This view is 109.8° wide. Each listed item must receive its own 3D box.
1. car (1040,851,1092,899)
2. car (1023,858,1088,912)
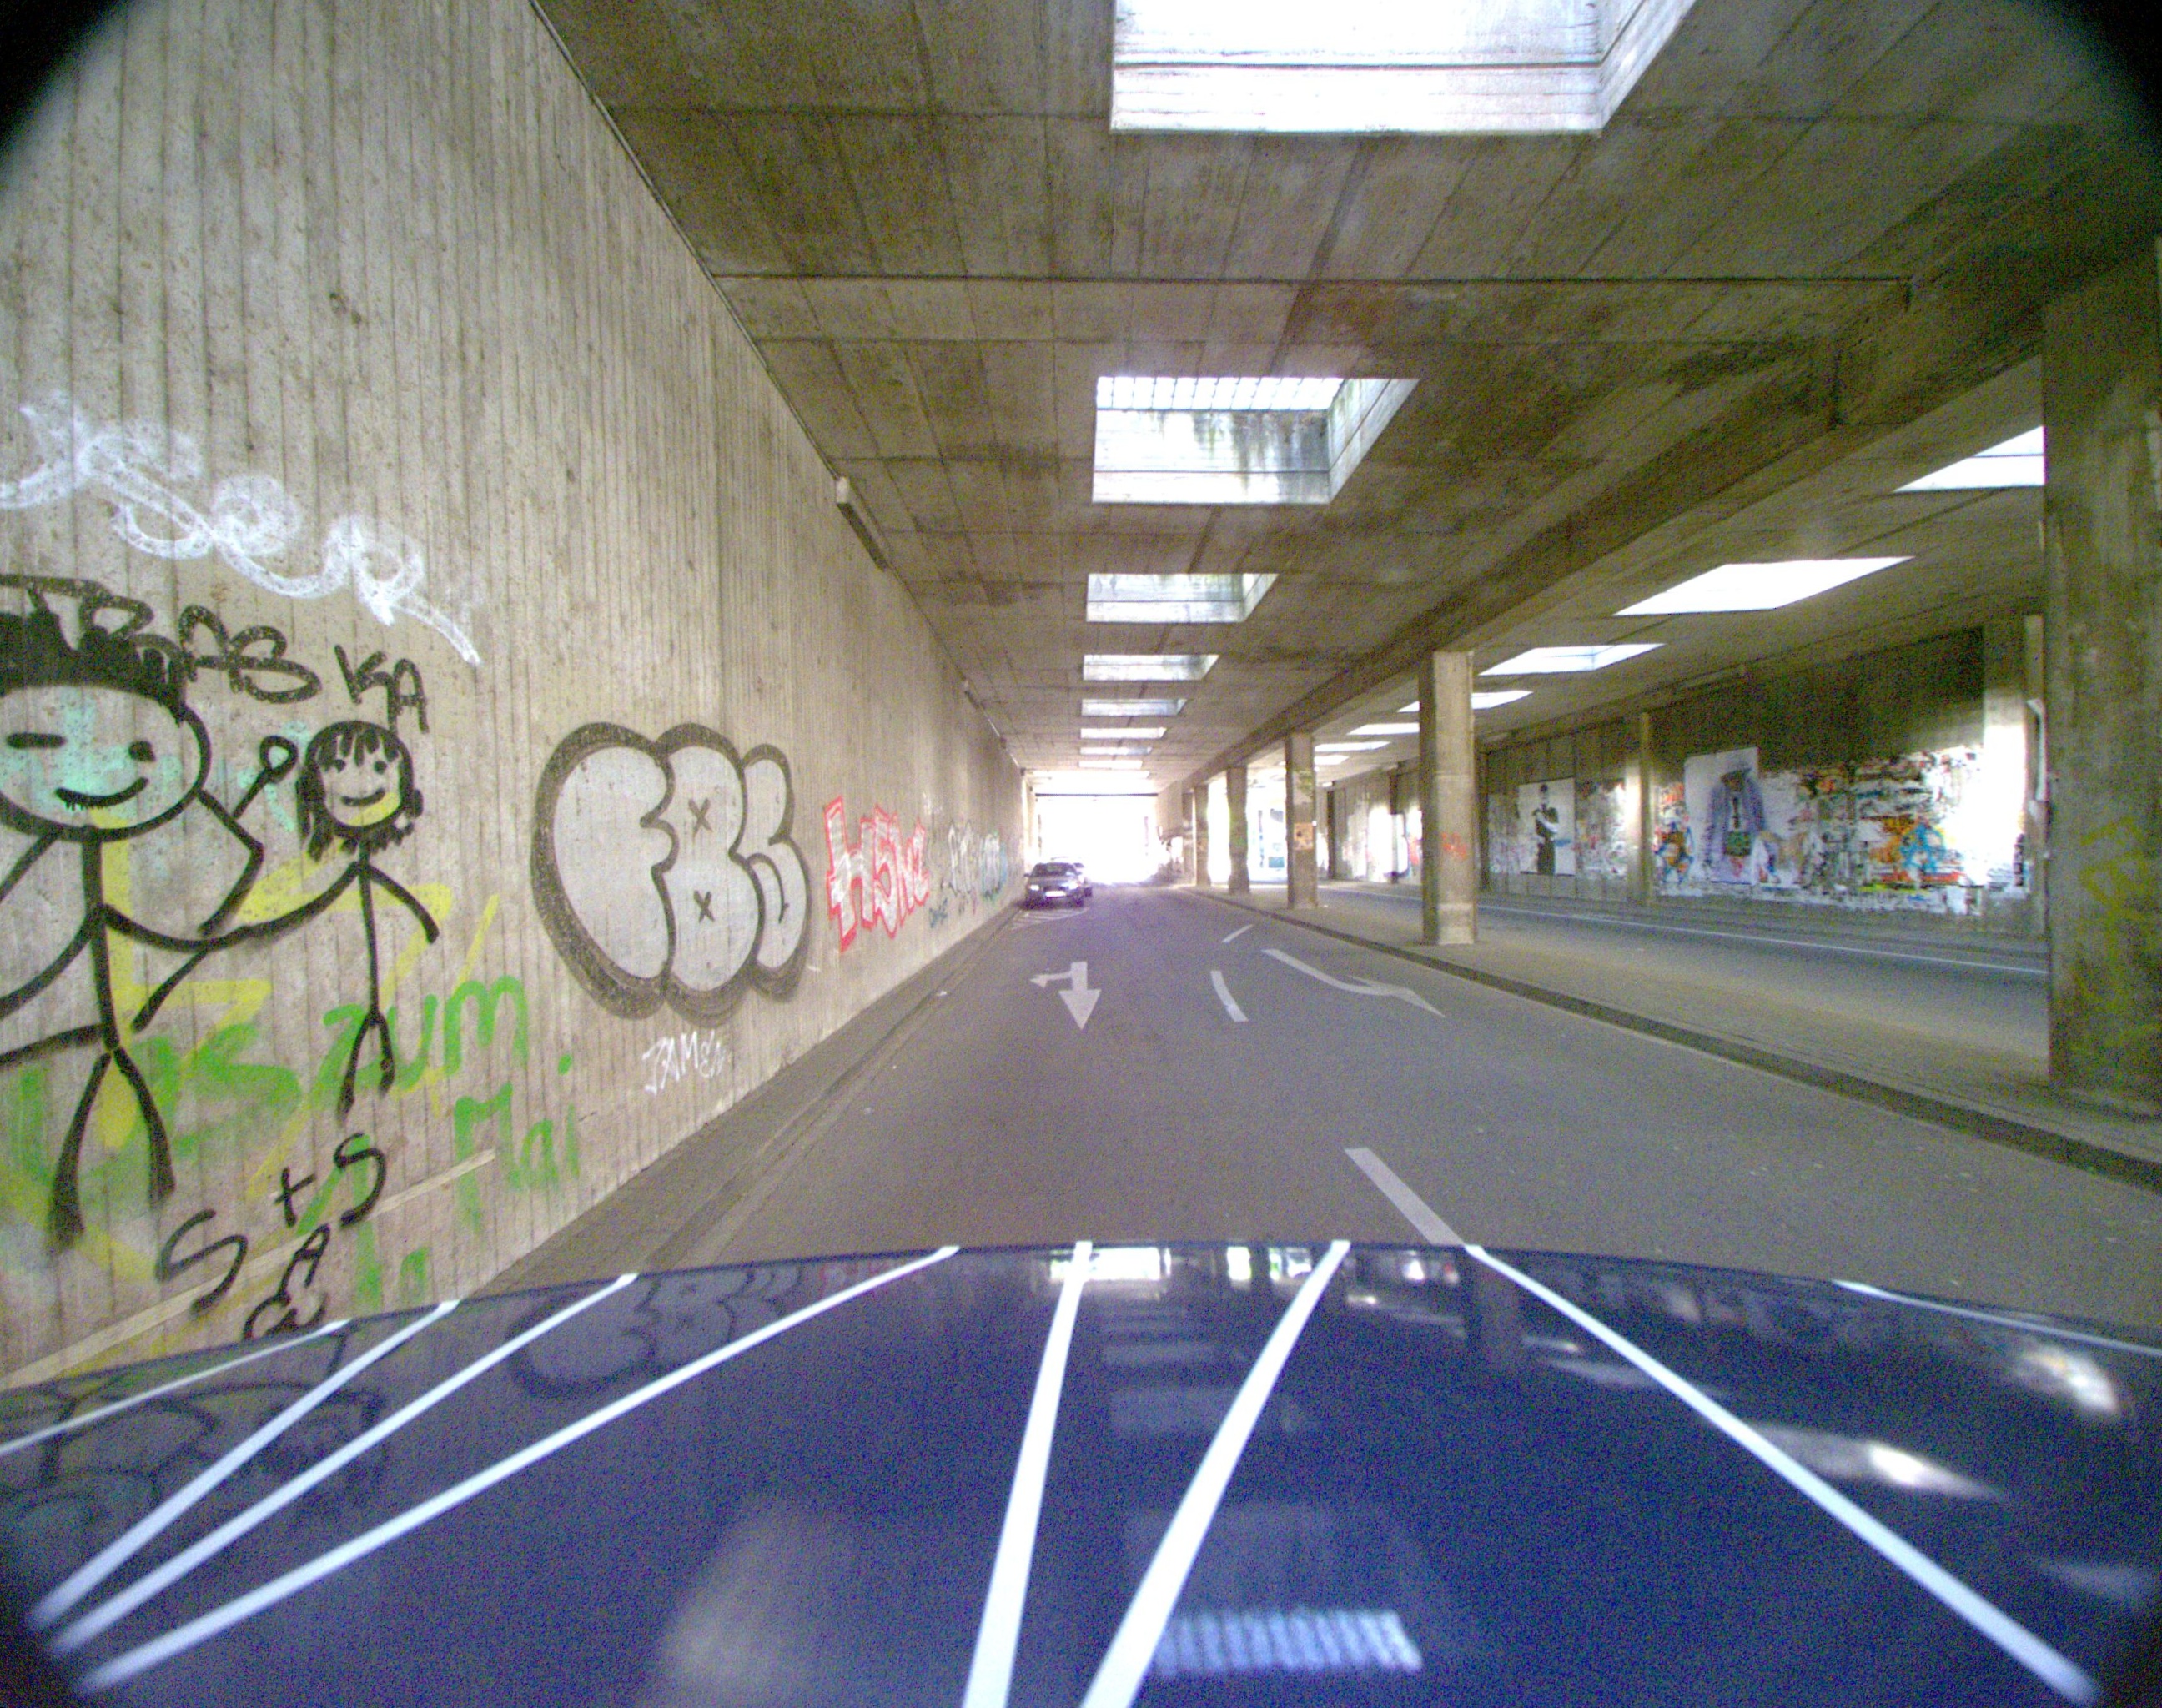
[{"bbox_3d":[-0.516,0.761,29.742,1.861,1.709,4.000,-2,0,1],"label":"car"},{"bbox_3d":[-0.719,0.904,24.057,1.808,1.460,4.000,-2,0,1],"label":"car"}]
